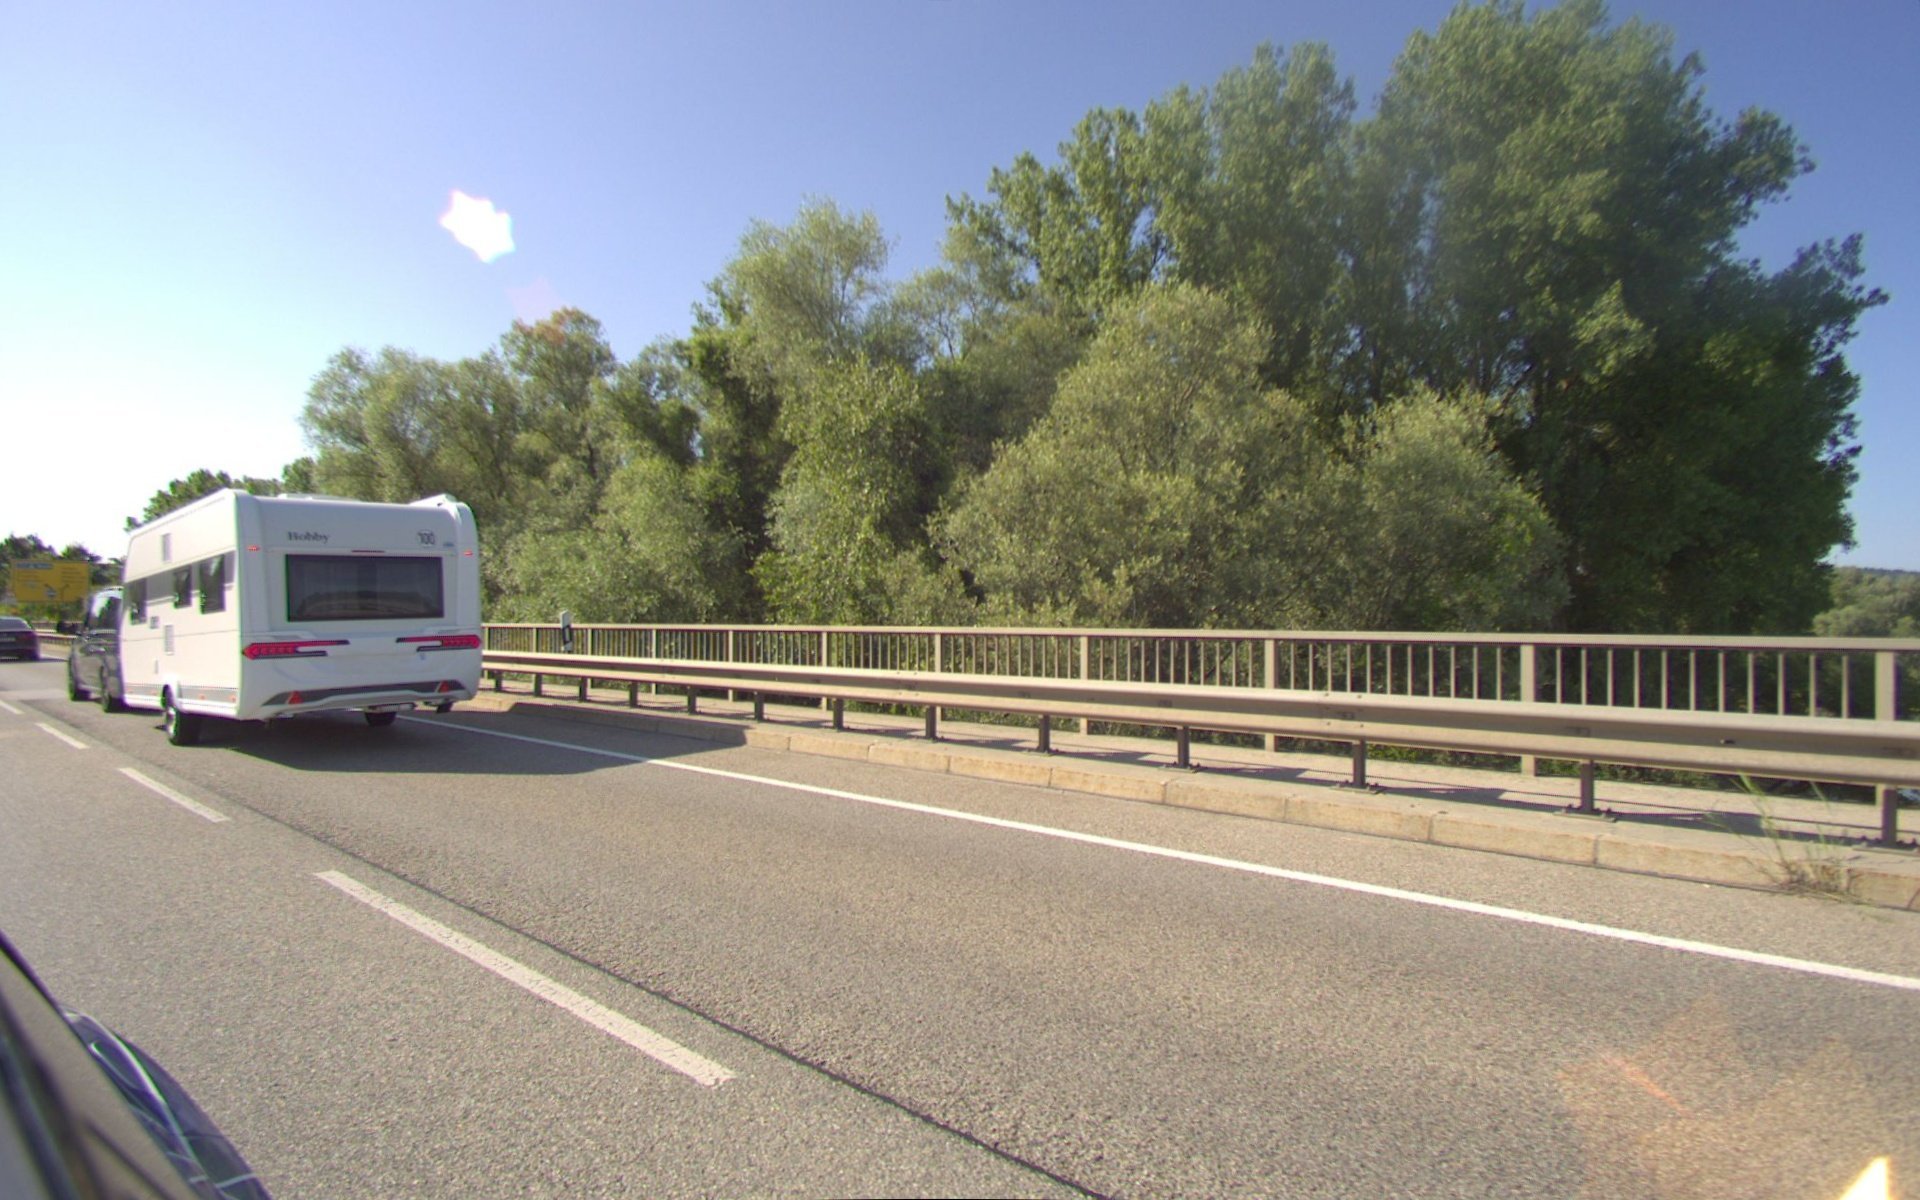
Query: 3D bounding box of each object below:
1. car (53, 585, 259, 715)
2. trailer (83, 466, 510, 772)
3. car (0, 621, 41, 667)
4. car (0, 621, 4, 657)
[{"bbox_3d":[-13.602,0.753,16.995,5.007,1.868,1.962,-1,-1,43],"label":"car"},{"bbox_3d":[-8.738,0.222,12.757,8.060,2.758,2.528,-1,-1,42],"label":"trailer"},{"bbox_3d":[-31.347,1.386,32.748,4.647,1.431,1.768,-1,-1,40],"label":"car"},{"bbox_3d":[-41.161,1.609,41.878,4.481,1.447,1.715,-1,-1,39],"label":"car"}]
